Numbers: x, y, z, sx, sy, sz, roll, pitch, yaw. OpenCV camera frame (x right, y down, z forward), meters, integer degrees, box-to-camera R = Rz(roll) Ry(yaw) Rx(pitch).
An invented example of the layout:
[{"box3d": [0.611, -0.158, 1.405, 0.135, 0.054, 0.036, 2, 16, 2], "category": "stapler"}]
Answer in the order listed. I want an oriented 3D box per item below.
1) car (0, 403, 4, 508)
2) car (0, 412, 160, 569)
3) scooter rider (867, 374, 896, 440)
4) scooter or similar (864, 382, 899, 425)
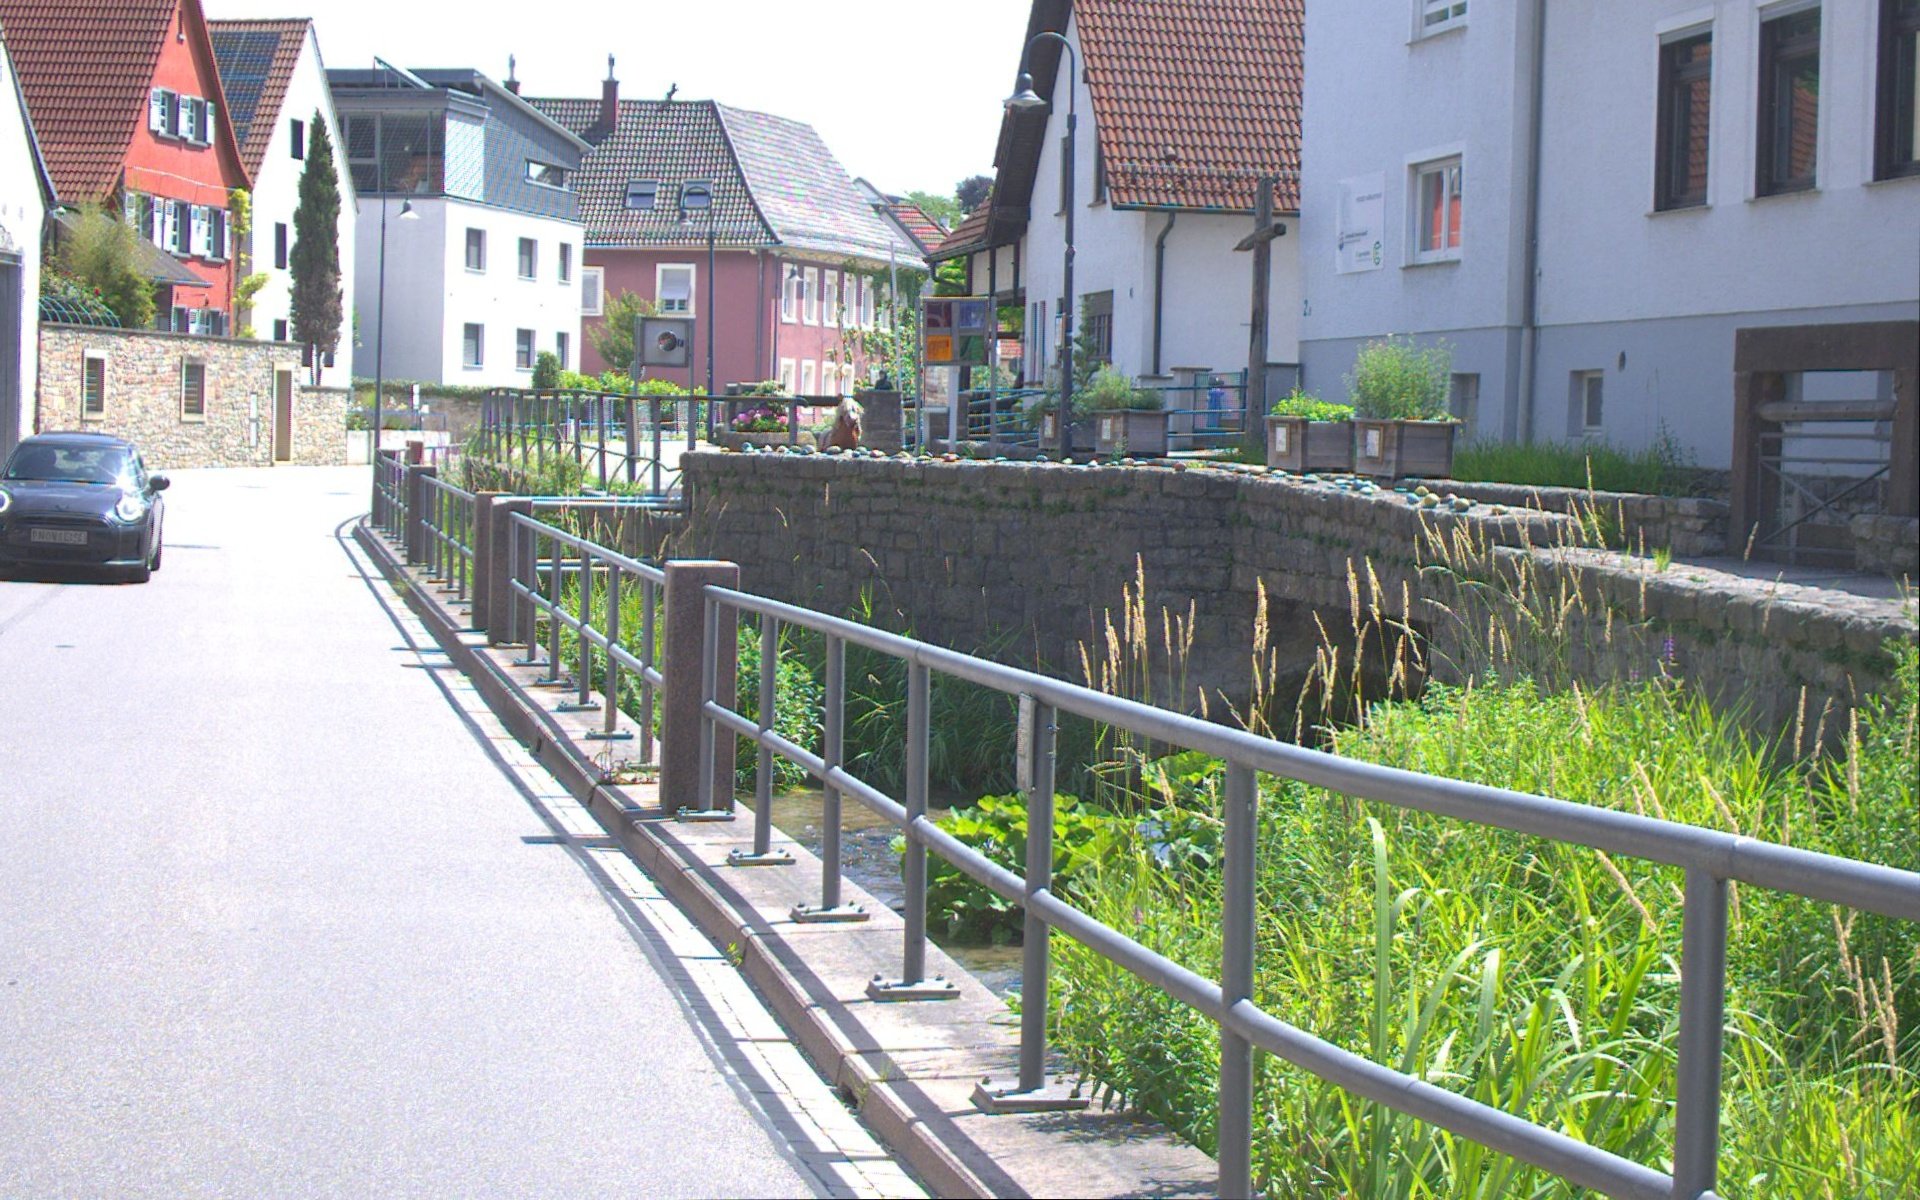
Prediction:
[{"box3d": [-14.518, -2.008, 48.184, 1.716, 1.524, 3.858, 0, 3, -9], "category": "car"}, {"box3d": [-9.233, -1.163, 35.756, 1.698, 1.460, 4.437, 3, 2, -13], "category": "car"}, {"box3d": [-2.107, -5.190, 92.409, 0.641, 1.725, 0.554, 2, 2, -11], "category": "scooter rider"}, {"box3d": [-2.113, -5.292, 92.491, 0.641, 1.138, 1.812, 0, 3, -11], "category": "scooter or similar"}]
